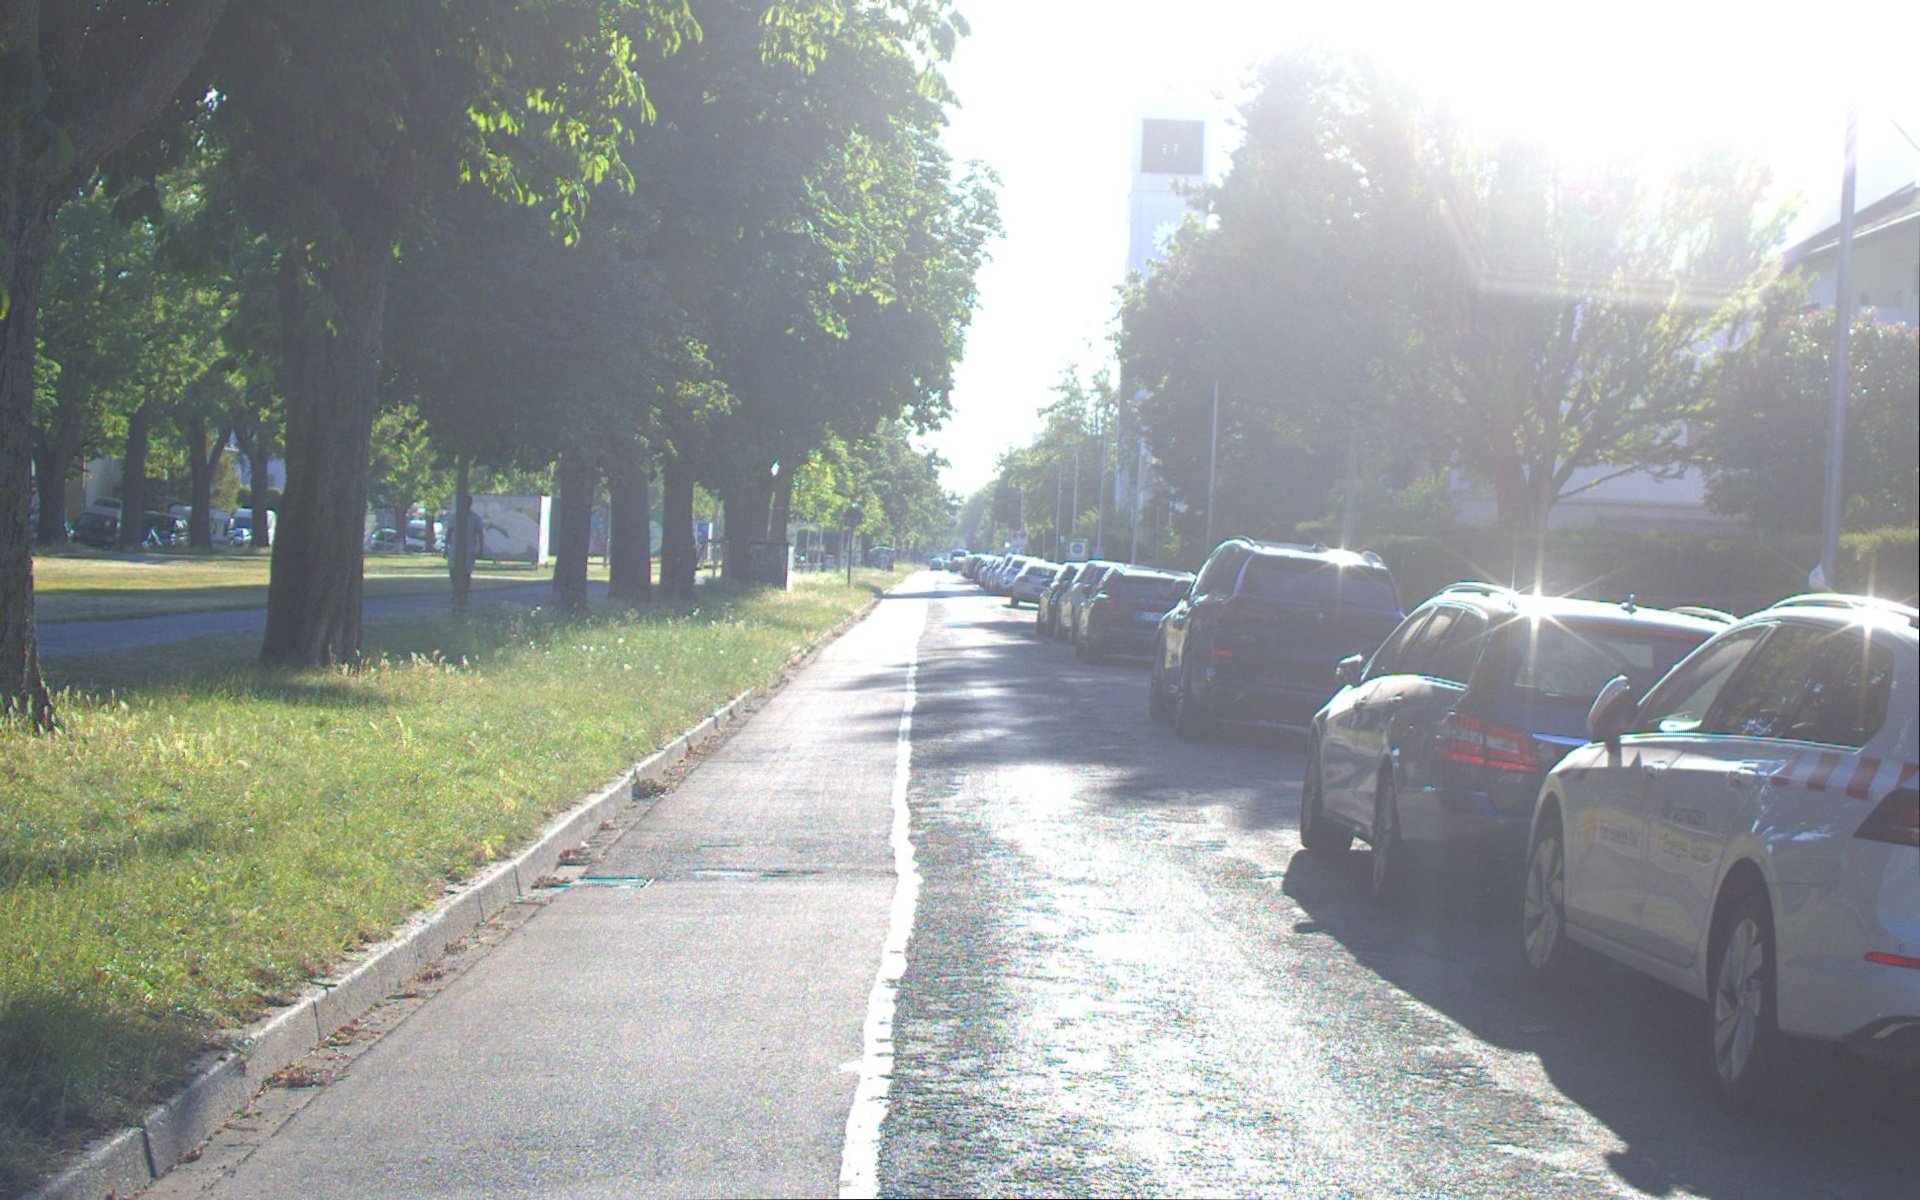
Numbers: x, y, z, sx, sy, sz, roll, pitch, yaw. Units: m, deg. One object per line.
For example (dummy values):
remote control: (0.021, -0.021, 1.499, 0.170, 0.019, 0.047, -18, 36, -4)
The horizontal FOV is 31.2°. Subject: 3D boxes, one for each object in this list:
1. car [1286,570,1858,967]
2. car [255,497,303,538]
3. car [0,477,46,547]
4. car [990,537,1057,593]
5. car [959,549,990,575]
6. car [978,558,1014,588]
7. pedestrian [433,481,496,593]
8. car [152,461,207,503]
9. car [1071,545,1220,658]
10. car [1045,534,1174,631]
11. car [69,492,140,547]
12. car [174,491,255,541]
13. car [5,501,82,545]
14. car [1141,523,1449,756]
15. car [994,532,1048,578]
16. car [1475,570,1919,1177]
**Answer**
car: (2.774, 0.686, 16.658, 1.780, 1.458, 4.594, 5, 1, -1)
car: (-41.215, -5.003, 208.083, 1.993, 2.401, 4.363, 0, 1, 0)
car: (-40.847, -3.710, 146.249, 2.437, 2.912, 5.818, 0, 1, 0)
car: (1.881, -1.071, 103.145, 1.757, 1.415, 4.072, 8, 1, 0)
car: (0.951, -2.544, 228.342, 1.980, 1.677, 4.000, 2, 1, 1)
car: (2.034, -1.545, 193.988, 1.993, 1.624, 4.000, 2, 1, 1)
pedestrian: (-7.991, -1.019, 55.497, 0.724, 1.752, 0.993, 2, 1, 6)
car: (-41.712, -6.293, 183.774, 1.993, 2.007, 4.485, 0, 0, -1)
car: (2.664, -0.008, 50.439, 1.793, 1.487, 4.675, 3, 1, -1)
car: (2.620, -0.329, 60.917, 1.691, 1.478, 3.930, 6, 1, -4)
car: (-34.893, -3.291, 140.280, 1.685, 2.168, 4.314, 3, 1, 1)
car: (-34.481, -3.900, 159.167, 2.534, 2.228, 5.459, 2, 2, 0)
car: (-34.702, -2.908, 130.206, 1.685, 1.554, 4.314, 2, 1, 1)
car: (2.887, 0.274, 30.745, 1.993, 1.731, 4.864, 6, 1, -2)
car: (2.215, -1.674, 126.216, 1.758, 1.599, 4.359, 2, 1, -2)
car: (3.147, 0.760, 10.971, 1.993, 1.459, 4.551, 6, 1, -3)
